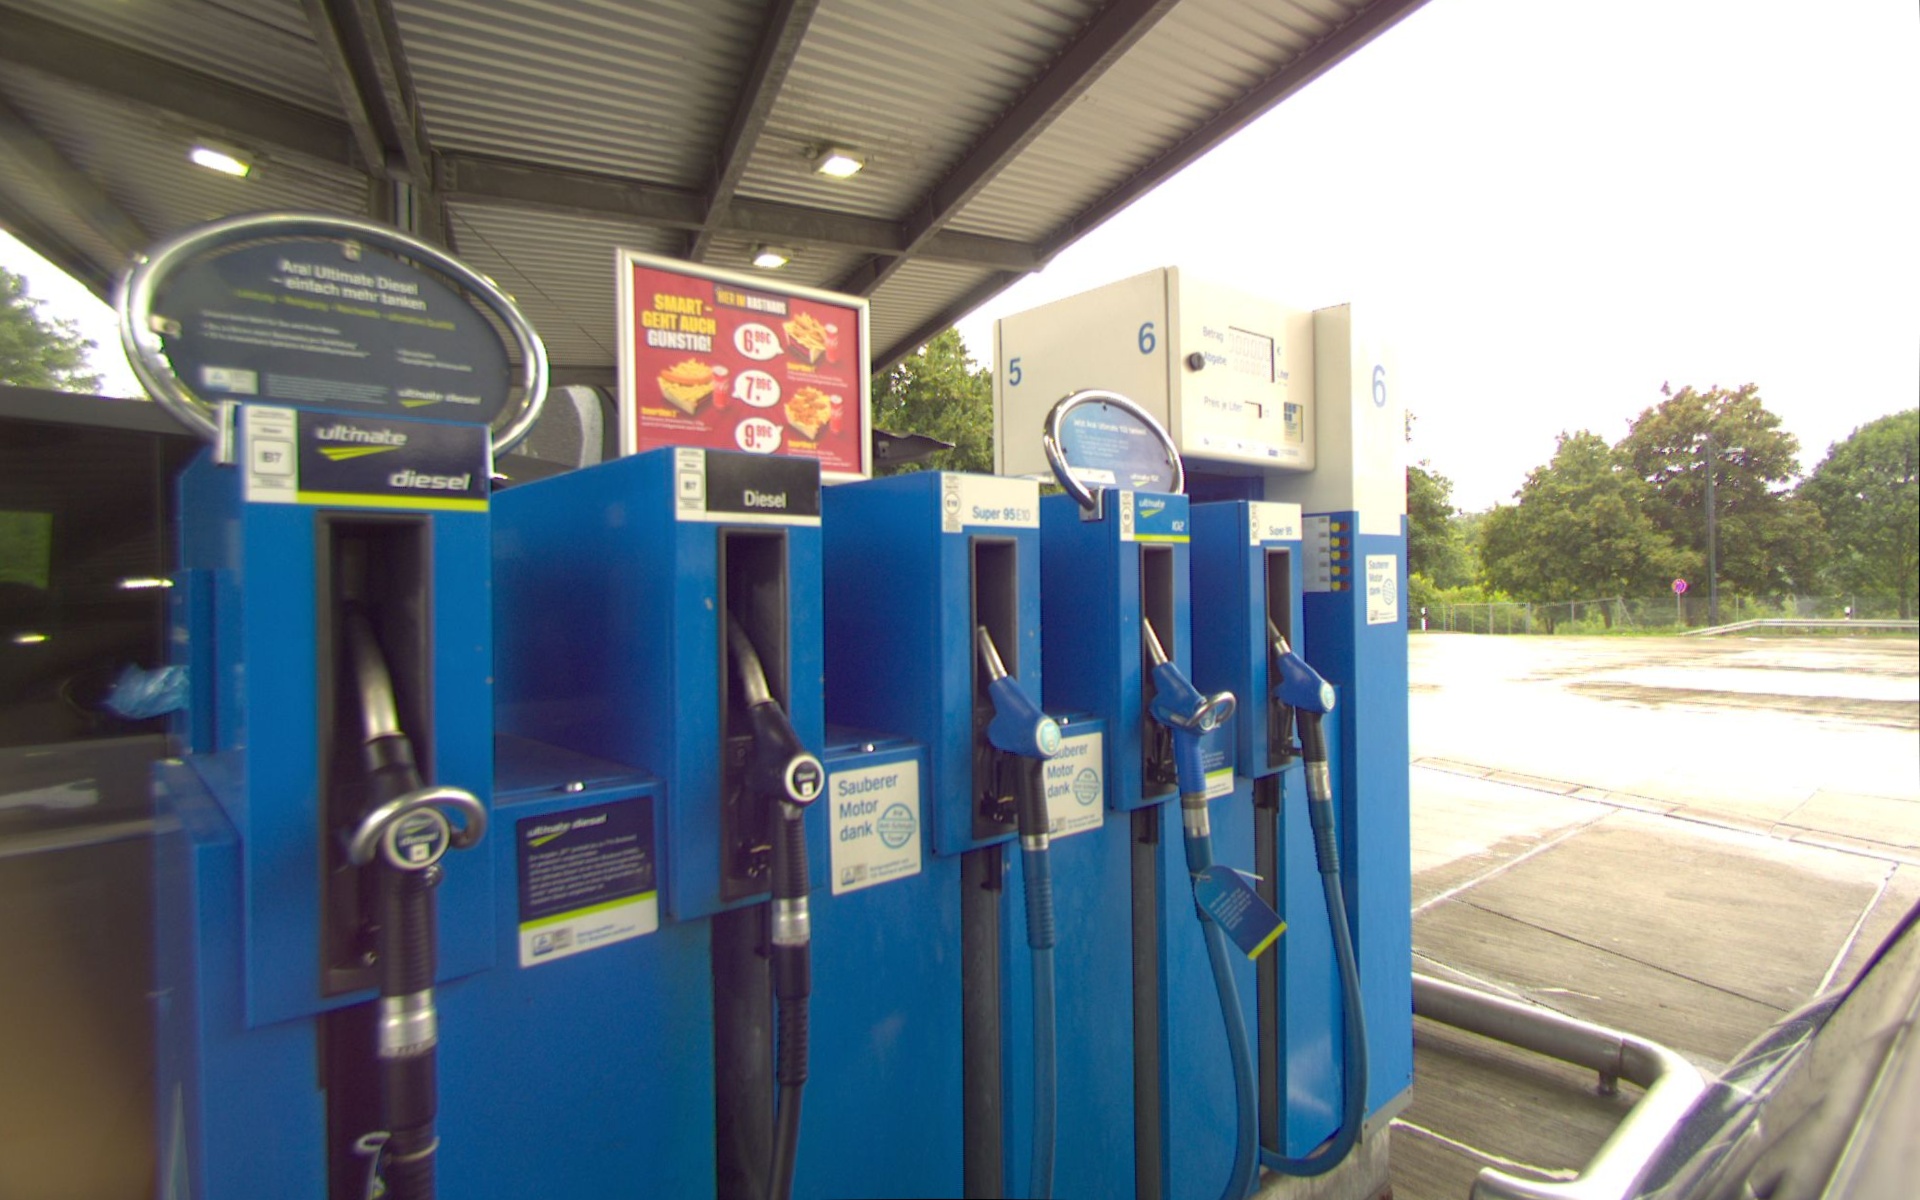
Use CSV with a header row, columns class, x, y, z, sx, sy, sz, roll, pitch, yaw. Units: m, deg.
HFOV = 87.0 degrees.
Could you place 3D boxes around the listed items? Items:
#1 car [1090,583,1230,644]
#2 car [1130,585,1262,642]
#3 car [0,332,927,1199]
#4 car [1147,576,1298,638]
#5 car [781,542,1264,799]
class,x,y,z,sx,sy,sz,roll,pitch,yaw
car,5.870,0.371,29.732,3.941,1.680,1.593,1,0,14
car,7.424,0.383,31.922,3.941,1.680,1.593,1,0,14
car,-2.601,0.500,1.819,5.050,1.821,1.864,-1,0,-41
car,8.886,0.204,34.505,4.817,1.974,2.306,1,1,14
car,0.760,0.471,9.354,4.461,1.821,1.864,-1,0,-41
